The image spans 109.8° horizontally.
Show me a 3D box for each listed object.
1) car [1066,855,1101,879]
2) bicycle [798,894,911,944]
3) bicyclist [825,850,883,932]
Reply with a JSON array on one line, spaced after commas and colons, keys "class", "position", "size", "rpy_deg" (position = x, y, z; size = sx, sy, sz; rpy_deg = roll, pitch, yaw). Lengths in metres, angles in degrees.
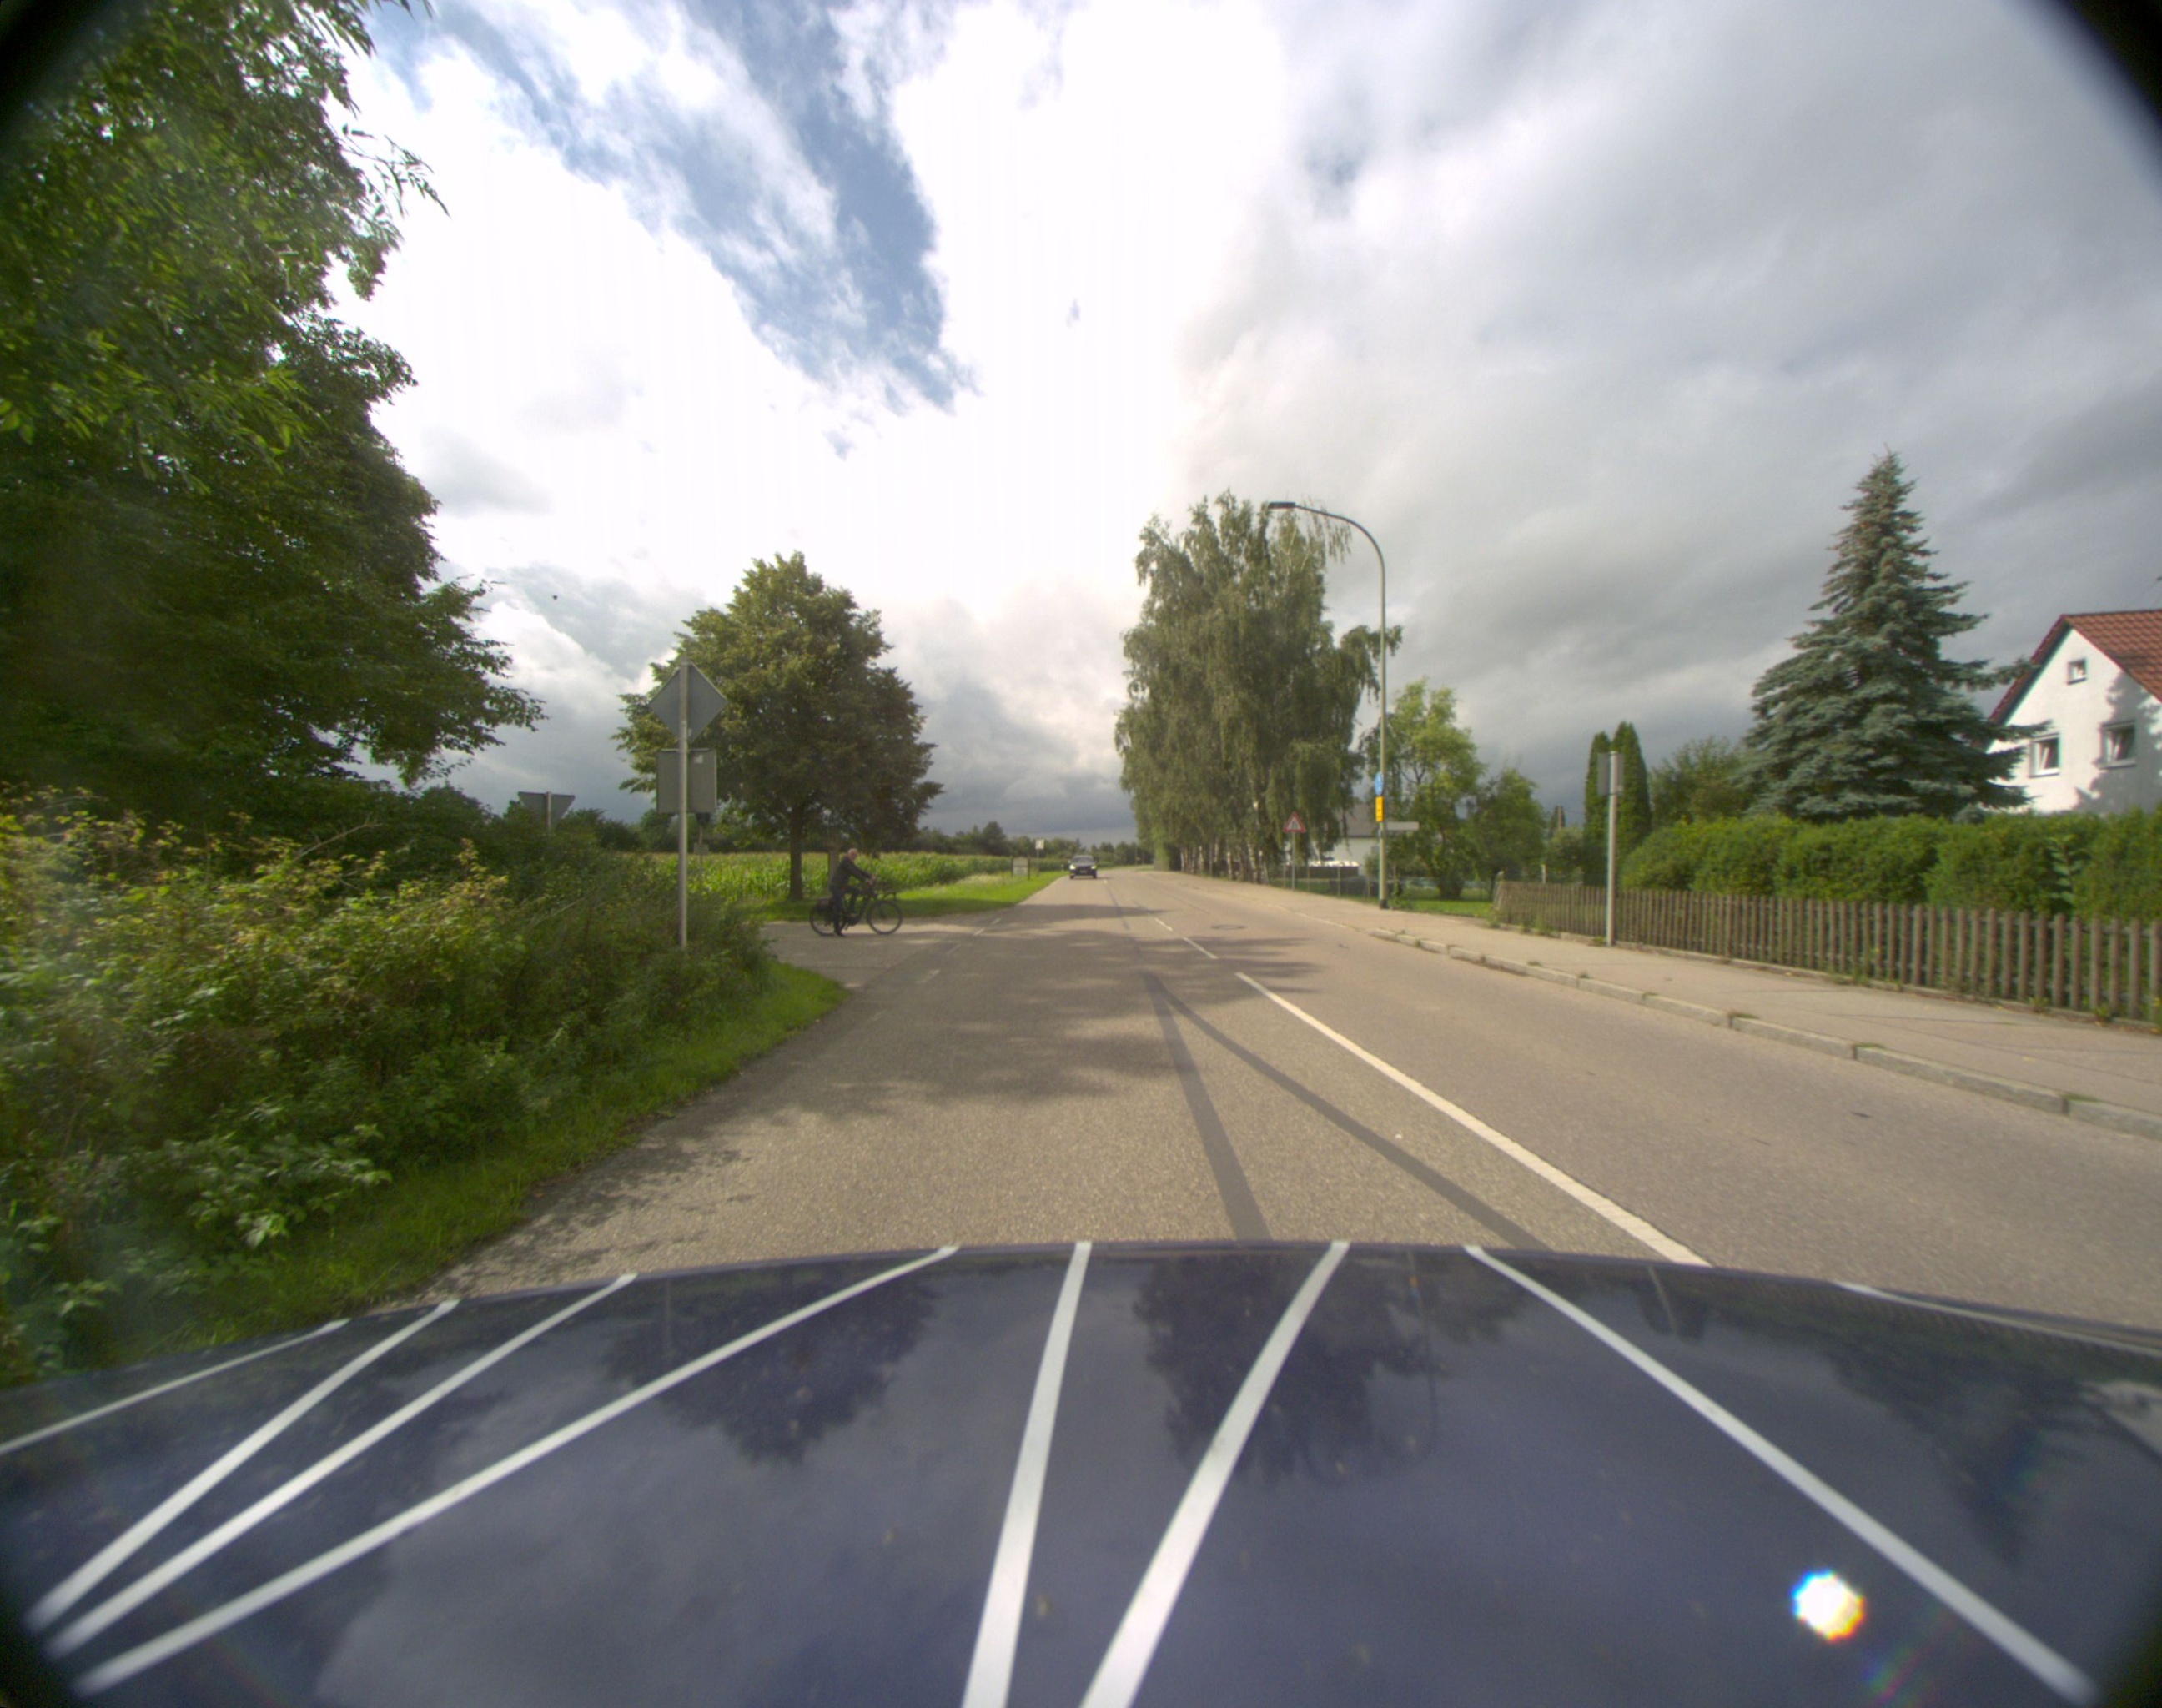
[{"class": "car", "position": [0.214, 0.915, 53.498], "size": [1.997, 1.594, 4.002], "rpy_deg": [-1, 0, 6]}, {"class": "bicycle", "position": [-4.555, 1.303, 15.469], "size": [2.123, 0.859, 1.053], "rpy_deg": [-1, 0, -14]}, {"class": "bicyclist", "position": [-4.592, 0.732, 15.461], "size": [1.021, 1.576, 1.053], "rpy_deg": [-2, 0, -14]}]
